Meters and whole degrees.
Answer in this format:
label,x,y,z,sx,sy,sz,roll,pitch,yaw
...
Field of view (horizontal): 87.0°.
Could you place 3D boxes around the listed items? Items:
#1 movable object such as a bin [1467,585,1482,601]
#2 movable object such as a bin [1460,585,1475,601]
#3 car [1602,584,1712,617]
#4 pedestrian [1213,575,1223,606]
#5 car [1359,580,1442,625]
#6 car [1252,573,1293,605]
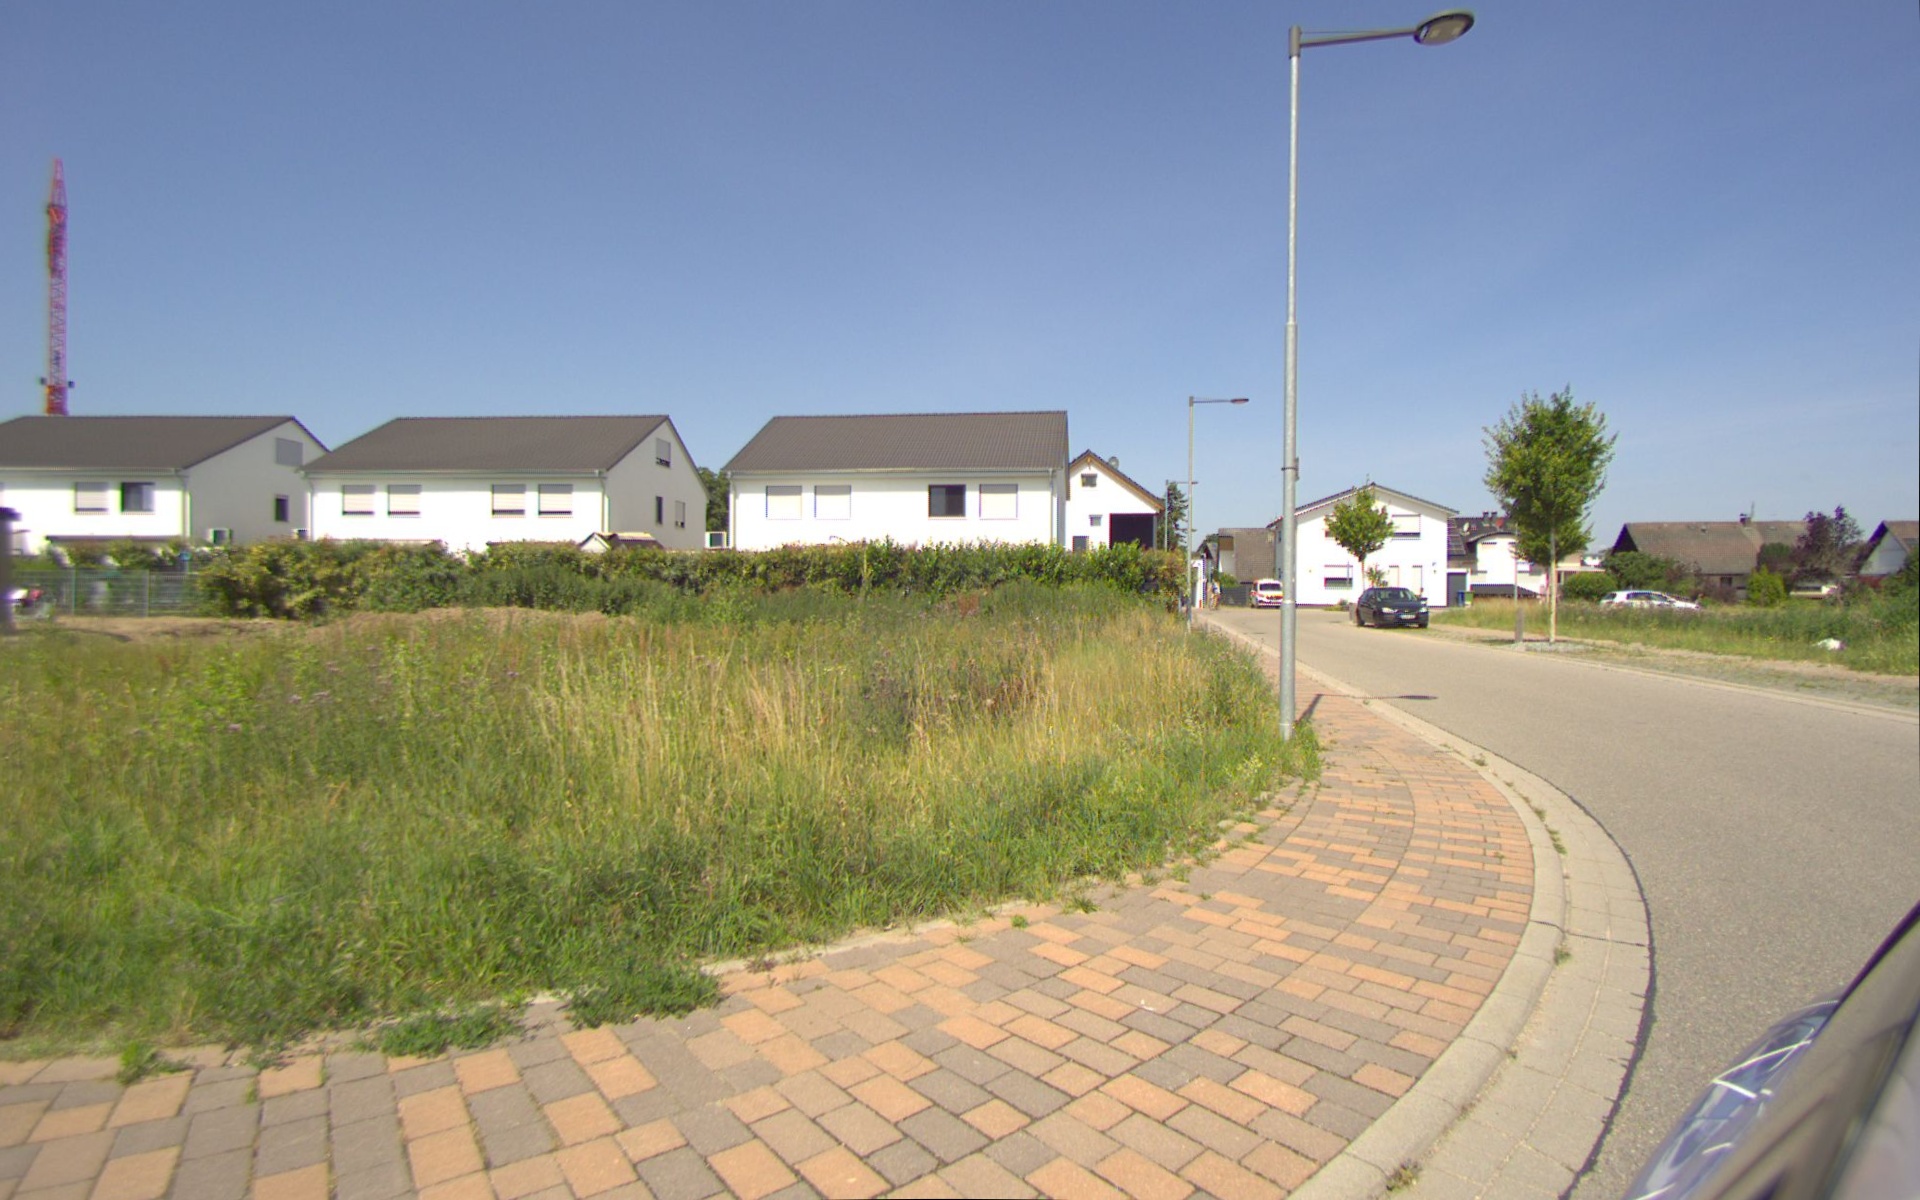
label,x,y,z,sx,sy,sz,roll,pitch,yaw
movable object such as a bin,32.536,-0.434,64.048,0.675,1.017,0.738,1,1,13
movable object such as a bin,32.544,-0.454,64.881,0.675,1.017,0.738,1,1,13
car,33.215,0.001,48.334,3.943,1.521,1.801,1,1,16
pedestrian,14.995,-0.562,58.853,0.543,1.742,0.816,0,0,14
car,15.901,0.058,36.742,1.788,1.472,4.132,-1,1,10
car,19.385,-0.693,62.901,1.827,1.909,4.546,-1,1,10
